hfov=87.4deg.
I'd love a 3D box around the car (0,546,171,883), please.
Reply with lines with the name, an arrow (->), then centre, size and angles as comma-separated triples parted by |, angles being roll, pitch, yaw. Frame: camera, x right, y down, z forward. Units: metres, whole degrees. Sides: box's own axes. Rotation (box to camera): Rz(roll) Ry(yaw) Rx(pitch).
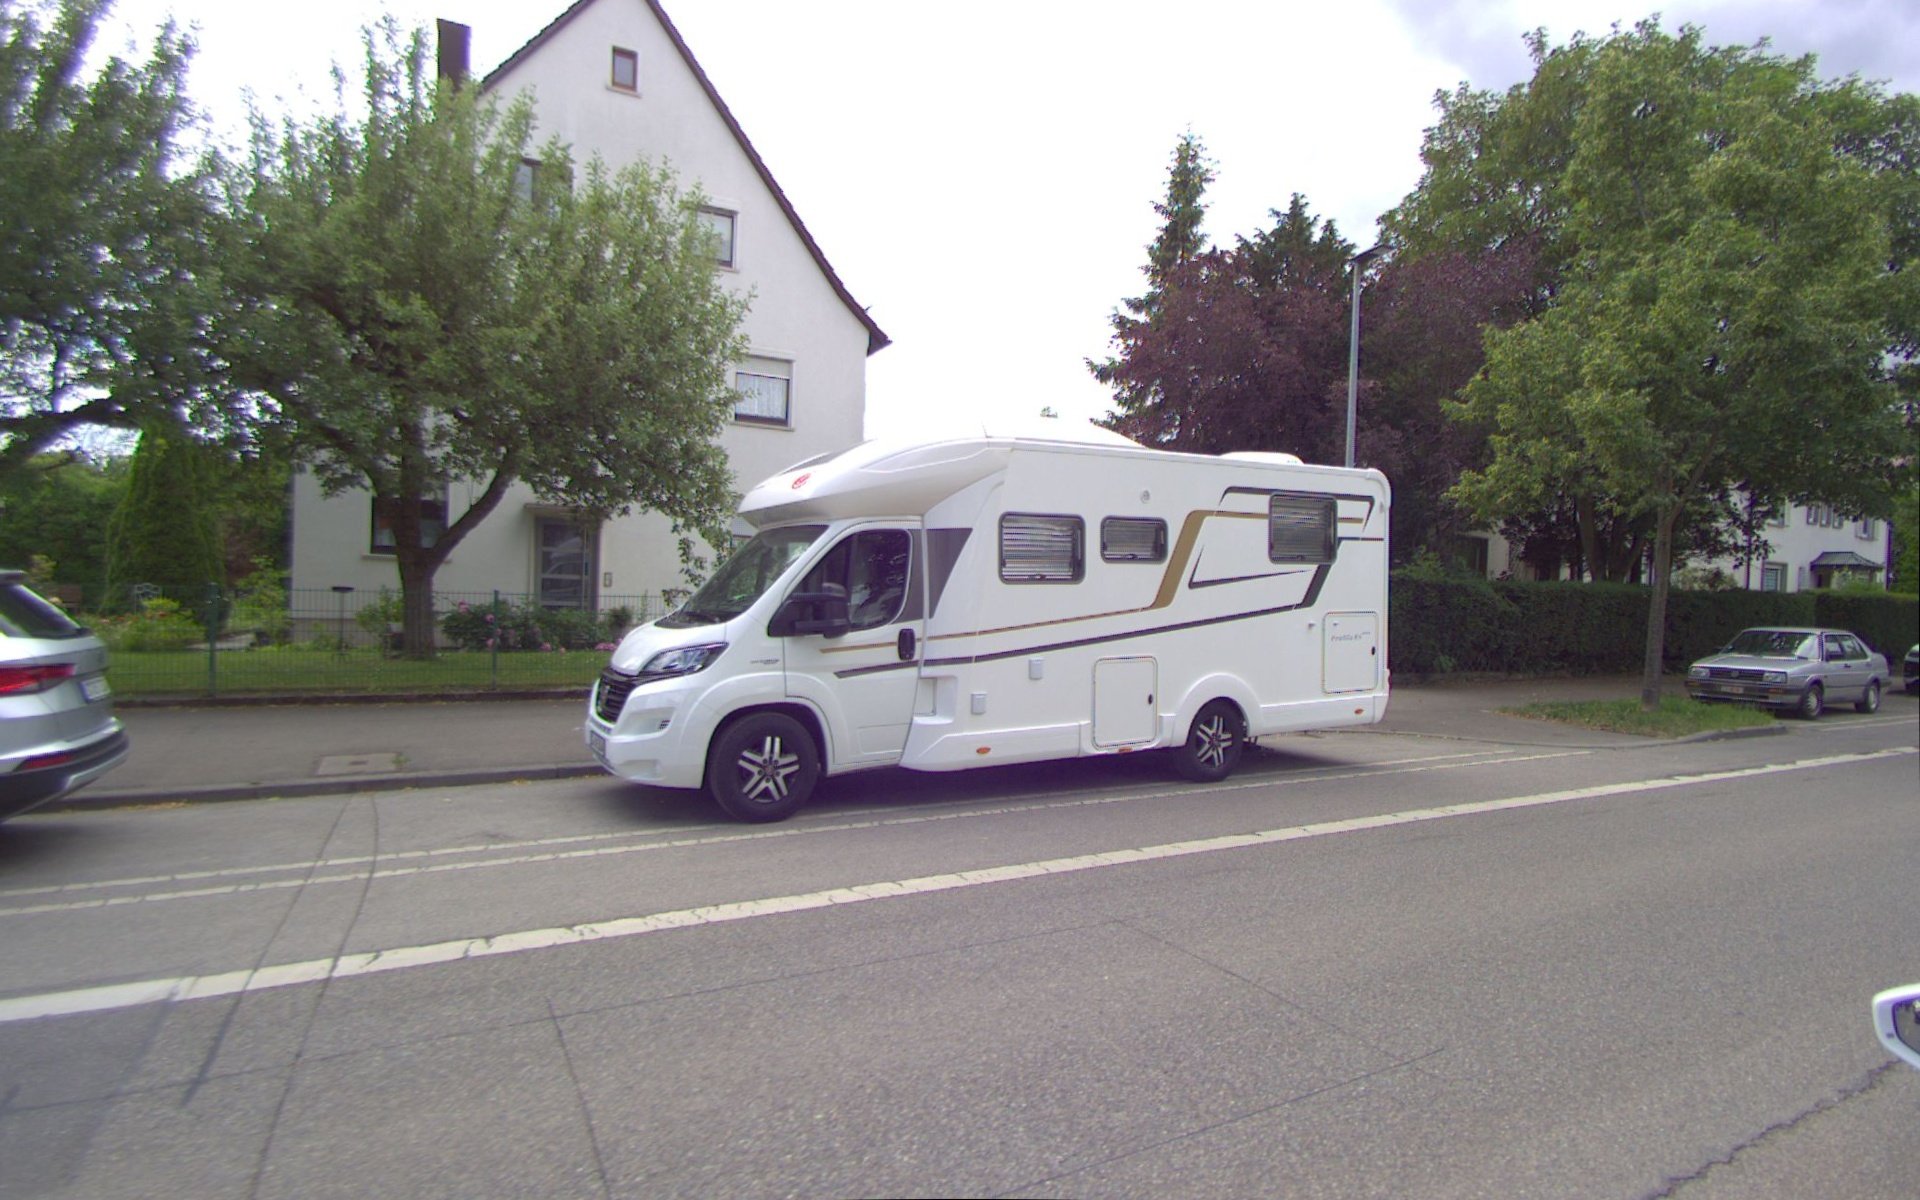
car -> -6.546, 0.511, 4.705 | 4.221, 1.622, 1.714 | 1, 0, -30

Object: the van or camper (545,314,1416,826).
van or camper -> 0.555, -0.109, 8.957 | 7.602, 3.049, 2.424 | 1, 0, -30

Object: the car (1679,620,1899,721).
car -> 14.134, 1.128, 17.060 | 4.402, 1.490, 1.547 | 1, 0, -32

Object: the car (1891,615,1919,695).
car -> 22.524, 1.215, 21.926 | 4.640, 1.674, 1.809 | 1, 0, -28
